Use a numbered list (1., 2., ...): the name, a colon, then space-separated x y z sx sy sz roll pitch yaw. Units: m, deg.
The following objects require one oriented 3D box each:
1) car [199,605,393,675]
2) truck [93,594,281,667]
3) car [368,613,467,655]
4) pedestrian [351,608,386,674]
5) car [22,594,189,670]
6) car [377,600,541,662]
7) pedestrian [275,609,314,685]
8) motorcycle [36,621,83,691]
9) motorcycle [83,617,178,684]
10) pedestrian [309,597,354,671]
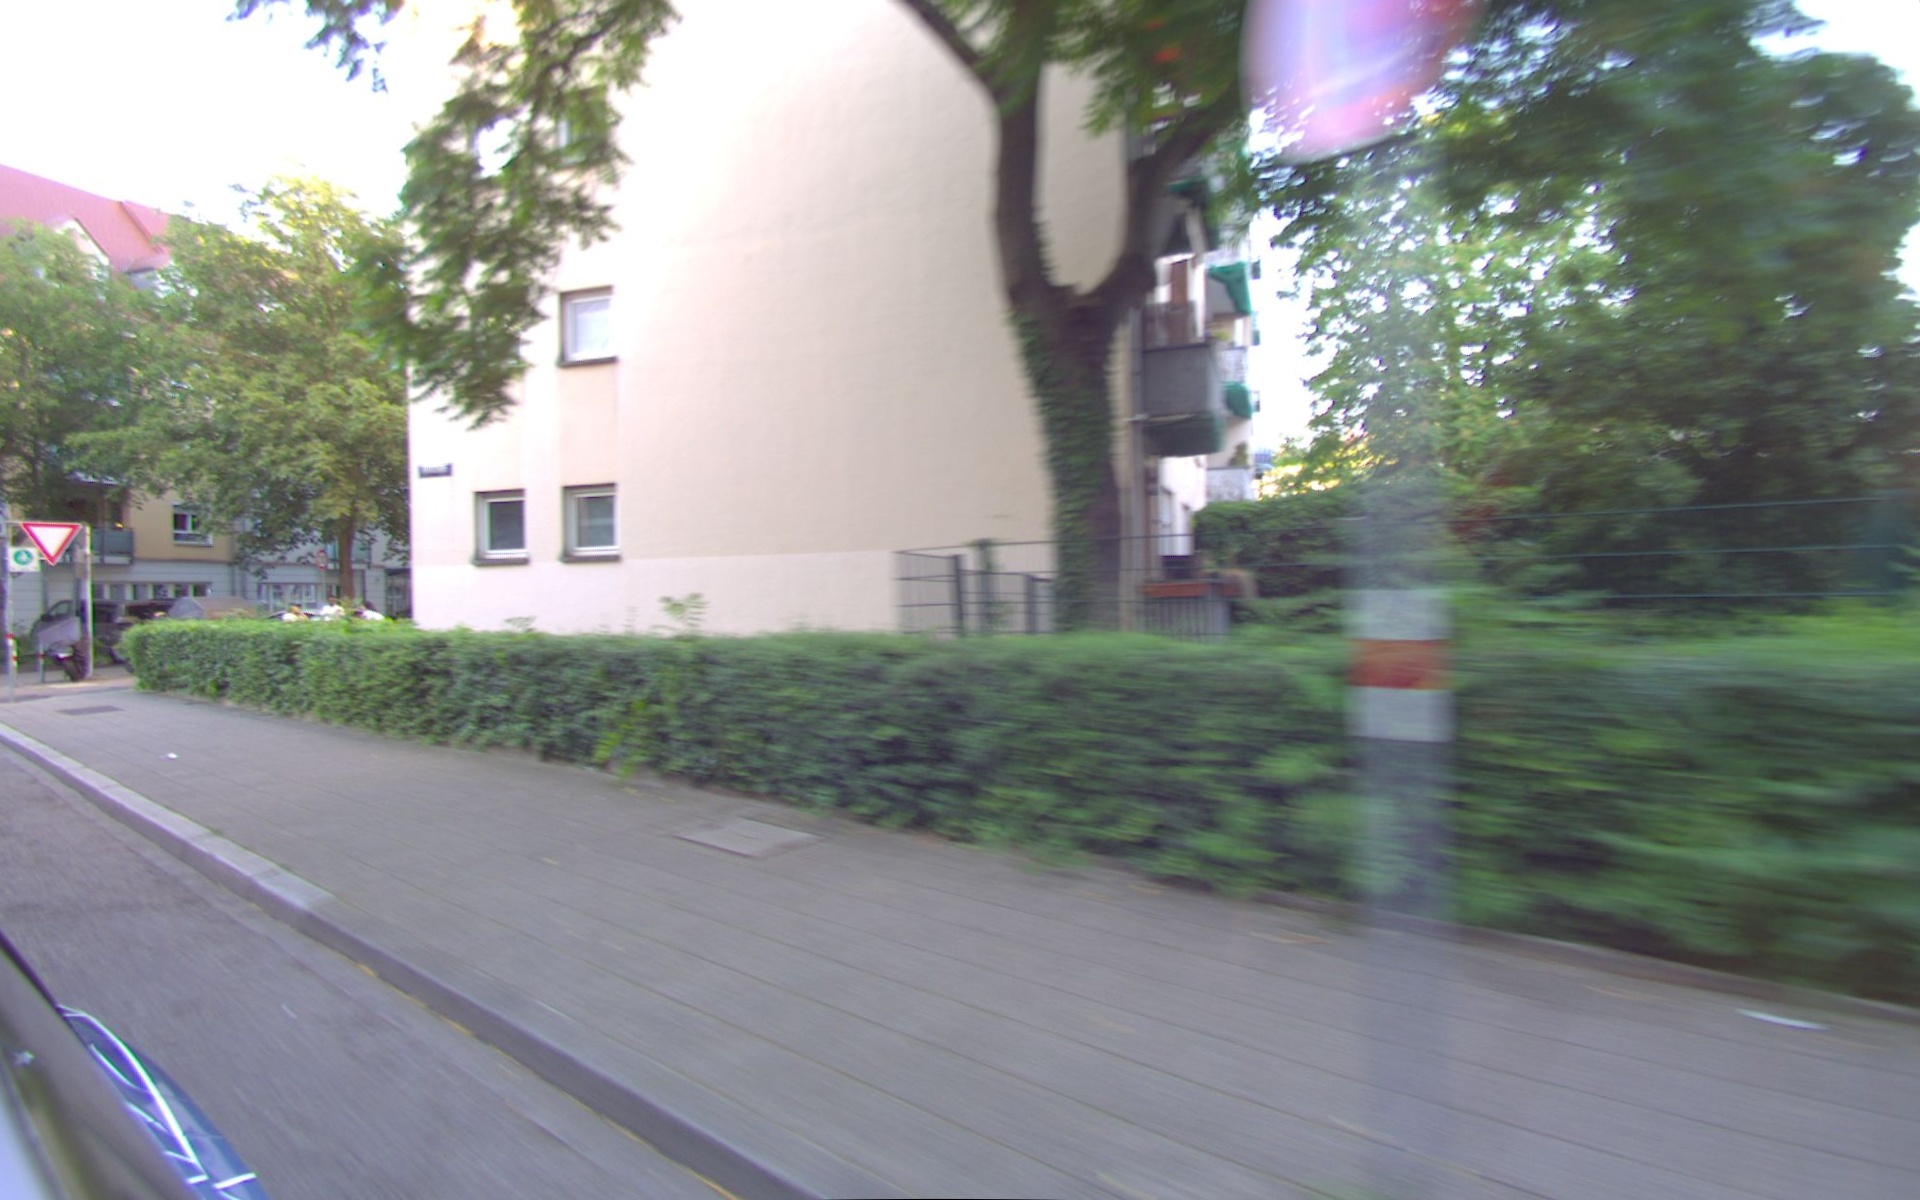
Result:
1. car: -17.929 1.078 27.350 4.478 1.593 2.042 -4 -1 19
2. truck: -26.957 0.999 35.301 5.976 2.149 2.247 3 1 19
3. car: -23.848 1.471 44.520 3.644 1.559 1.771 2 2 16
4. pedestrian: -14.433 1.000 24.692 0.657 1.584 0.445 -1 -1 23
5. car: -27.567 0.970 32.658 4.598 2.149 2.024 2 1 19
6. car: -15.736 0.969 31.818 4.371 1.697 2.053 -3 -1 17
7. pedestrian: -16.095 1.124 24.486 0.686 1.801 0.531 -1 -1 -22
8. motorcycle: -19.165 1.161 21.563 0.712 1.384 2.227 -1 -1 -41
9. motorcycle: -19.398 1.182 23.665 2.208 1.505 0.686 -2 -1 20
10. pedestrian: -15.696 0.839 25.284 0.694 1.801 0.660 -2 -1 23
